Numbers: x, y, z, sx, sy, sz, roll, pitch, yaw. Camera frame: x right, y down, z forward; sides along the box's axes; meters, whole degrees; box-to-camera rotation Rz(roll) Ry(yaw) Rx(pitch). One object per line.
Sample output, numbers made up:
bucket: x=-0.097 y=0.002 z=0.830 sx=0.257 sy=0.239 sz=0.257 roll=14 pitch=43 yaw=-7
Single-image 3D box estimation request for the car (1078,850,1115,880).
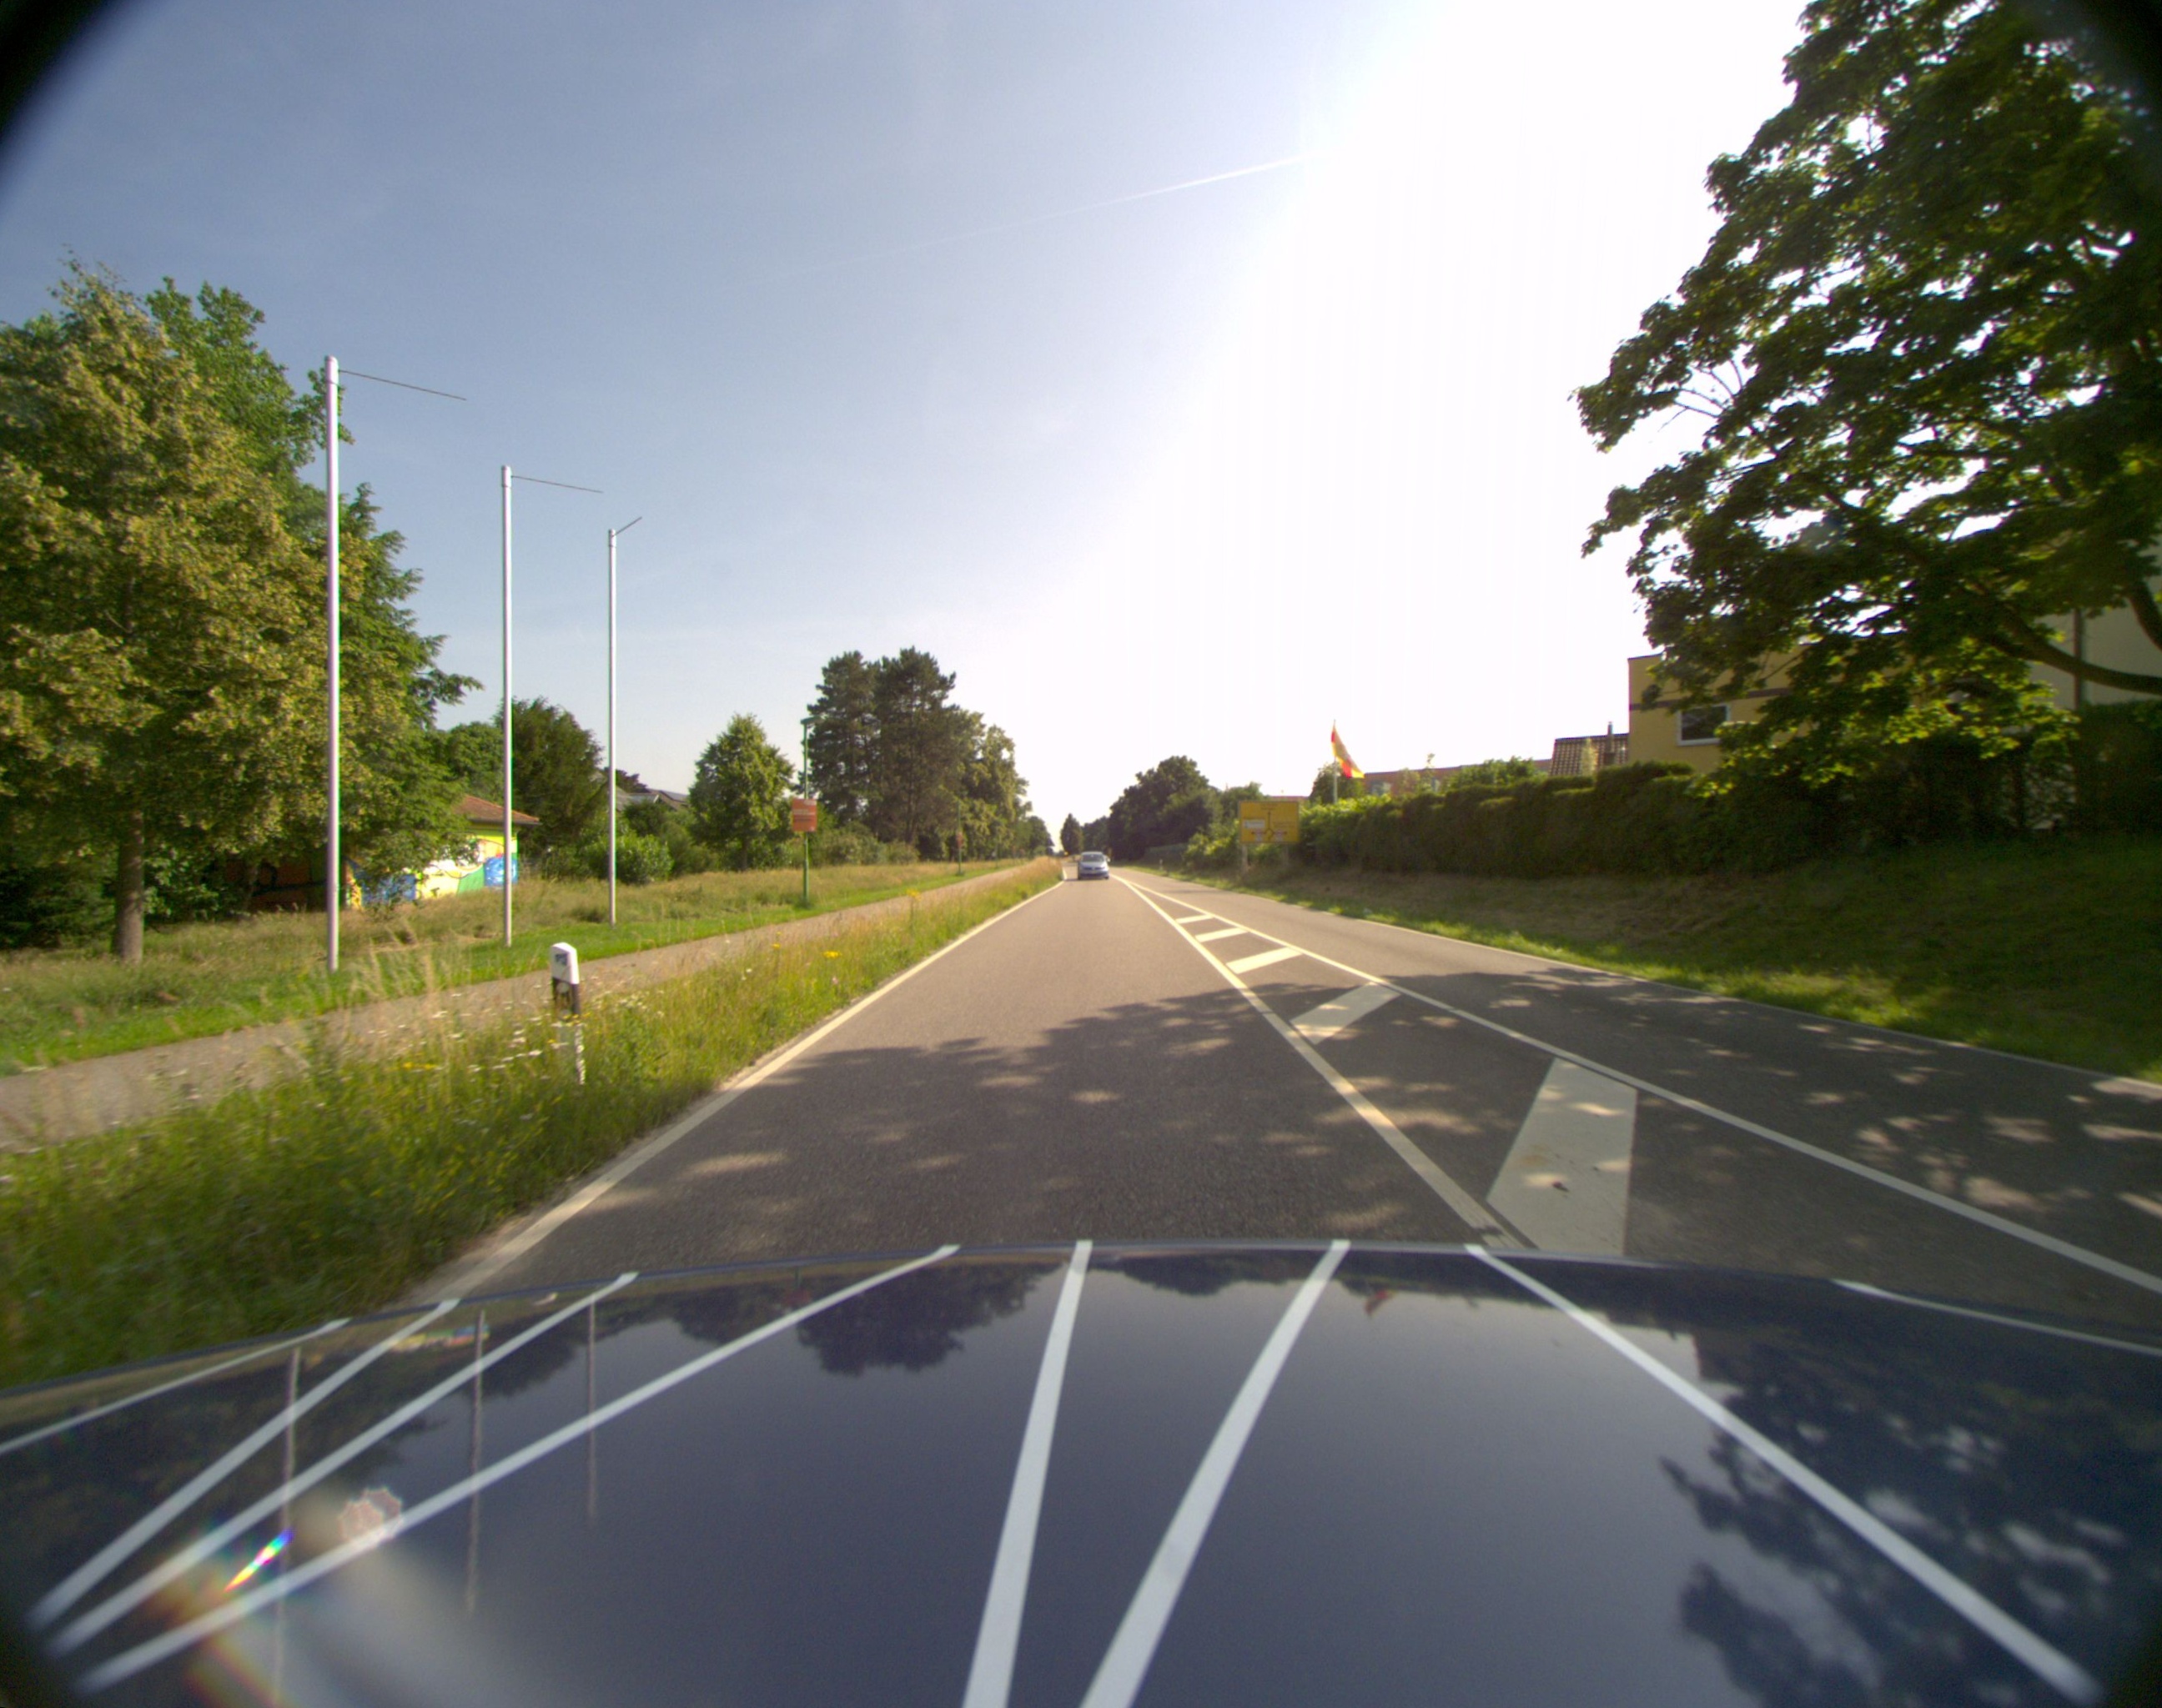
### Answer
car: x=0.805 y=0.595 z=42.666 sx=1.809 sy=1.592 sz=4.268 roll=-1 pitch=0 yaw=-2
